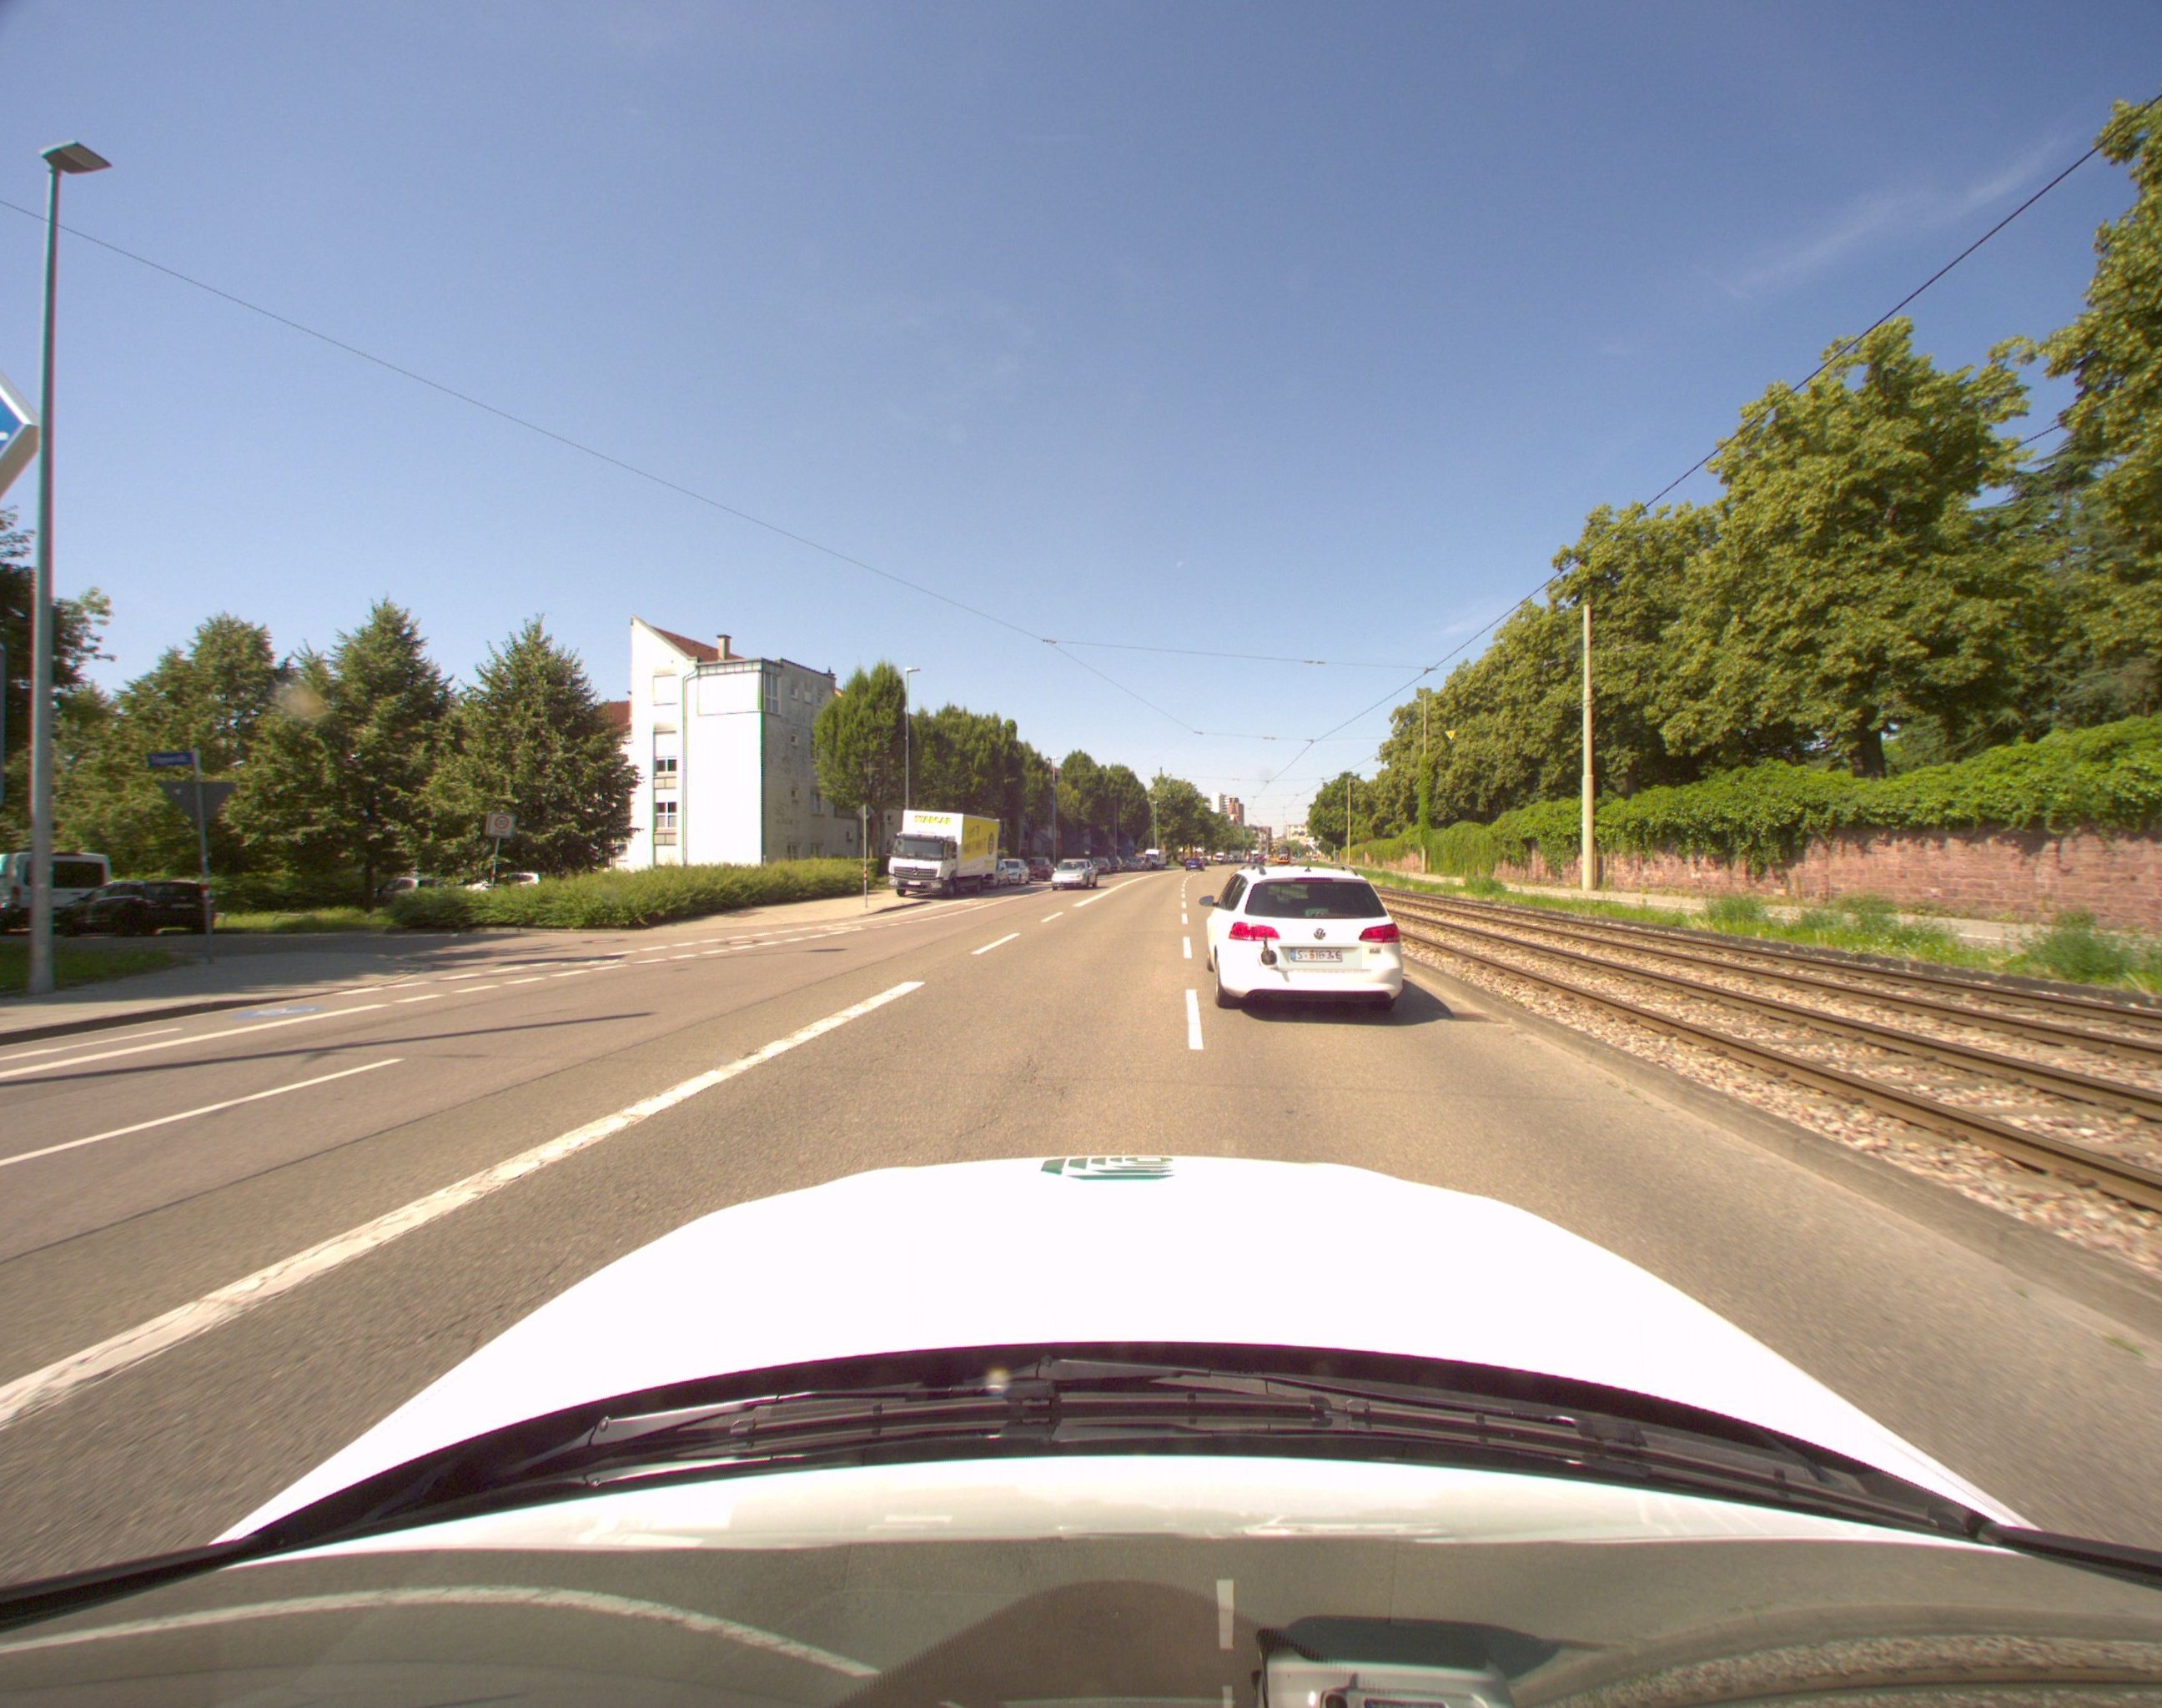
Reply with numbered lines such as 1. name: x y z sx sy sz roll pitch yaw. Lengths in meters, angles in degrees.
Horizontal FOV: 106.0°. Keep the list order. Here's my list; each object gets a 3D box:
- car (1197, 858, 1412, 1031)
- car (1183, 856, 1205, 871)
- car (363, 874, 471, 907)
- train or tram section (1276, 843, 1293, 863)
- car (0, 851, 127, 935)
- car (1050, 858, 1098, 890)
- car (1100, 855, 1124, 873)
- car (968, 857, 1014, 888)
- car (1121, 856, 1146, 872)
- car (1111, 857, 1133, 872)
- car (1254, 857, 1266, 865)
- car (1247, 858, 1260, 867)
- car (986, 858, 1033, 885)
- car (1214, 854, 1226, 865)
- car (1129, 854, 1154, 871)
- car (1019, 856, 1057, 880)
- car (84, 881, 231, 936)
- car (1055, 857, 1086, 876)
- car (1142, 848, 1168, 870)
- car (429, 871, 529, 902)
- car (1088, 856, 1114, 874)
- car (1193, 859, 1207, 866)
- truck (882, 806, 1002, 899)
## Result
1. car: 2.304 0.813 9.505 1.683 1.451 4.466 1 1 6
2. car: 11.845 0.976 85.238 1.787 1.507 4.017 1 1 15
3. car: -26.308 1.424 32.302 3.621 1.205 1.582 -1 0 18
4. train or tram section: 40.550 -0.119 162.276 2.491 3.747 13.370 -1 0 17
5. car: -33.001 1.204 26.103 4.138 2.538 1.797 -1 0 20
6. car: -0.284 0.919 39.642 1.649 1.420 4.319 -2 -1 8
7. car: 3.255 1.020 84.080 1.758 1.723 4.884 2 0 11
8. car: -4.697 0.928 42.843 1.601 1.484 3.642 1 0 6
9. car: 6.089 1.153 94.385 1.787 1.724 4.930 3 0 16
10. car: 4.535 1.126 89.432 1.678 1.474 4.063 3 0 13
11. car: 32.114 1.262 146.084 1.787 1.460 4.016 0 0 15
12. car: 28.032 1.351 132.487 1.787 1.507 4.016 1 0 15
13. car: -4.110 0.973 47.285 1.748 1.429 4.291 1 0 8
14. car: 31.208 1.247 182.789 1.864 2.416 5.141 -1 -1 19
15. car: 7.440 1.057 99.899 1.905 1.948 5.376 3 0 16
16. car: -2.901 0.901 55.656 1.721 1.552 4.329 1 0 9
17. car: -27.271 1.564 24.063 3.569 1.484 1.669 -1 0 20
18. car: -0.823 1.029 66.554 1.770 1.483 4.869 1 -1 9
19. car: 9.884 0.710 107.979 1.979 2.714 7.188 2 0 17
20. car: -25.470 1.362 34.471 3.621 1.205 1.582 -1 0 18
21. car: 1.928 1.045 78.676 1.705 1.625 4.326 1 0 12
22. car: 21.860 1.538 149.686 1.686 1.352 4.019 -1 0 19
23. truck: -5.787 -0.062 35.697 2.652 3.530 8.609 1 0 8
